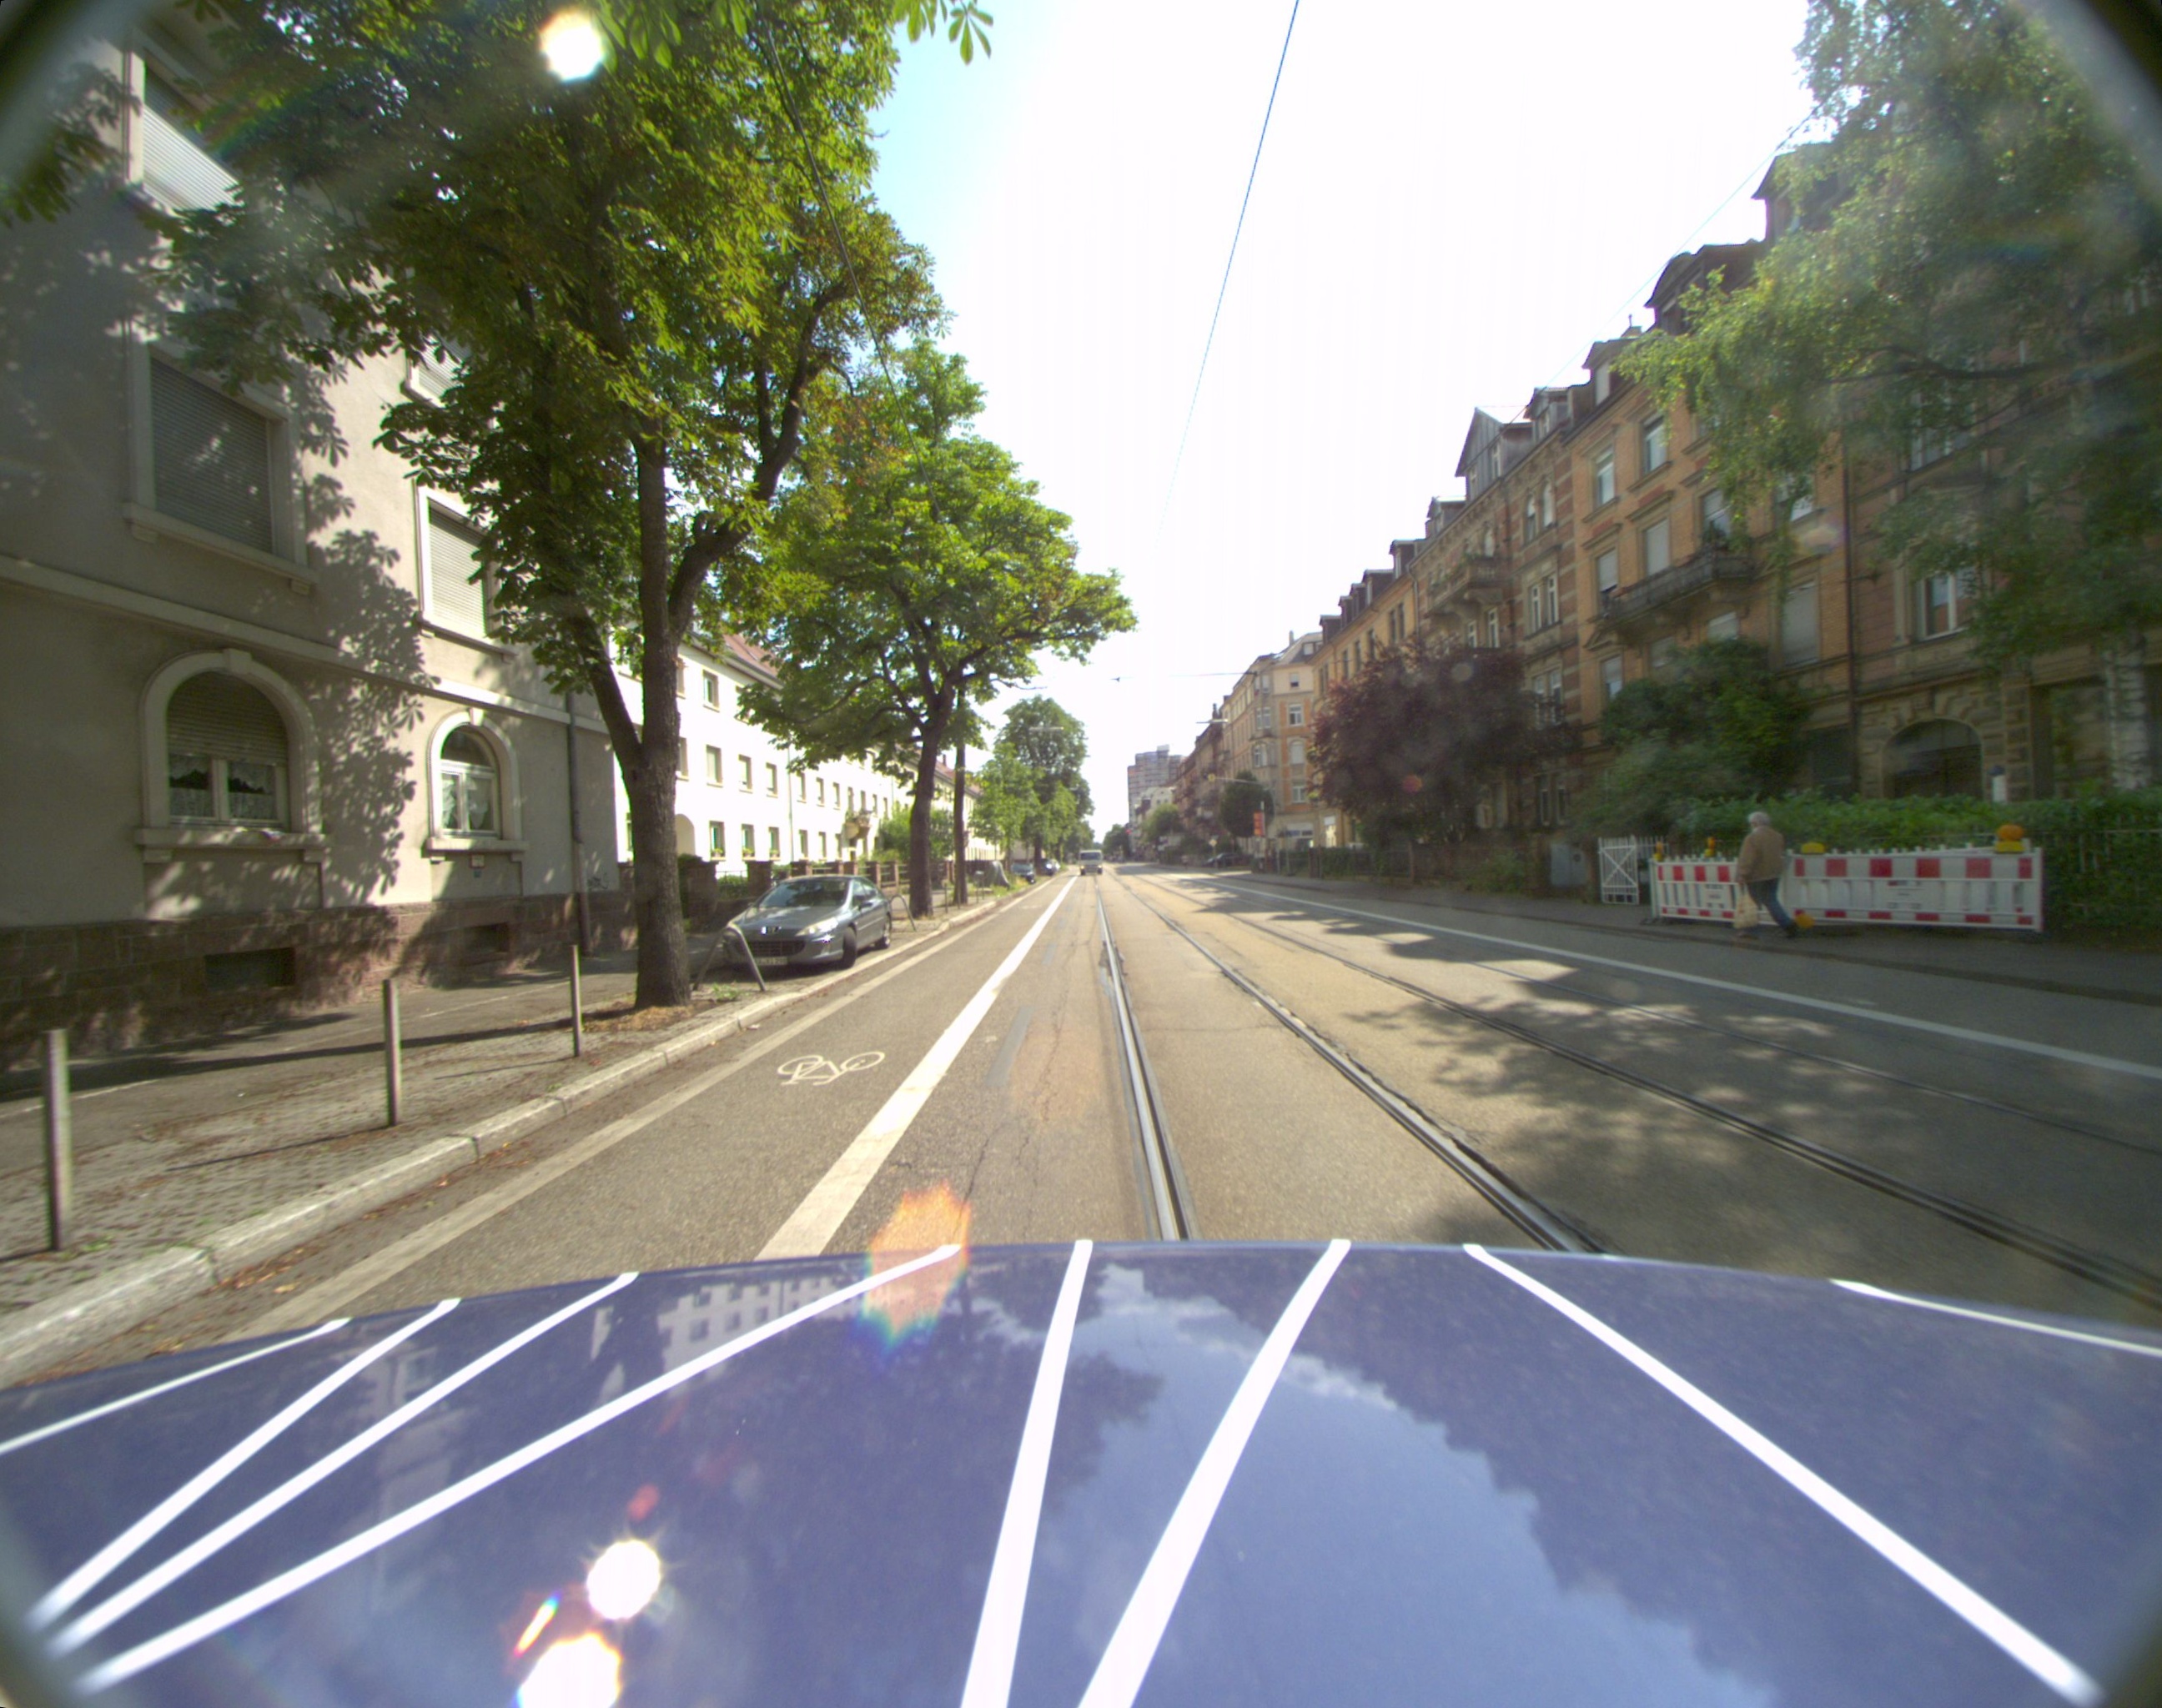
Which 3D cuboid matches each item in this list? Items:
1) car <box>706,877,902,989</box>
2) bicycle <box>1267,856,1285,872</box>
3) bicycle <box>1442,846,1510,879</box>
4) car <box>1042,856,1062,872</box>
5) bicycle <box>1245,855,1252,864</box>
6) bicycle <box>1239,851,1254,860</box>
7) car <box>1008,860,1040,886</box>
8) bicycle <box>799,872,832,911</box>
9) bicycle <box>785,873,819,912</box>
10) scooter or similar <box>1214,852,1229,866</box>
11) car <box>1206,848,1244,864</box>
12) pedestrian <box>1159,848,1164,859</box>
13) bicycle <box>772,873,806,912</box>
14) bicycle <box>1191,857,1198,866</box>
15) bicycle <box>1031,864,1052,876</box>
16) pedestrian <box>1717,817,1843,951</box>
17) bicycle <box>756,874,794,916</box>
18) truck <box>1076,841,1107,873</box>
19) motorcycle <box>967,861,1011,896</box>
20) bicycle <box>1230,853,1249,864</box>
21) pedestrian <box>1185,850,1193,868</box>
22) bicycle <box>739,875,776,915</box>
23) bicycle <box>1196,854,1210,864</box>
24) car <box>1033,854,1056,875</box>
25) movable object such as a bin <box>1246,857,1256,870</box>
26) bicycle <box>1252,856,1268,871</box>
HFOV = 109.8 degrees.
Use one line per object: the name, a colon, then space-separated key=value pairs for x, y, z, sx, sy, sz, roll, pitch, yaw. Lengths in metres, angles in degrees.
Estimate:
car: x=-4.433 y=1.179 z=12.937 sx=1.851 sy=1.401 sz=4.393 roll=-1 pitch=0 yaw=-2
bicycle: x=11.831 y=0.597 z=46.103 sx=0.531 sy=0.941 sz=1.968 roll=-2 pitch=0 yaw=1
bicycle: x=13.461 y=0.286 z=25.894 sx=2.211 sy=1.013 sz=0.467 roll=-2 pitch=0 yaw=-10
car: x=-3.102 y=1.049 z=81.030 sx=1.867 sy=1.643 sz=4.637 roll=-3 pitch=0 yaw=0
bicycle: x=15.790 y=0.479 z=71.658 sx=0.524 sy=0.833 sz=1.700 roll=-3 pitch=-1 yaw=14
bicycle: x=17.541 y=0.148 z=80.340 sx=1.456 sy=0.971 sz=0.404 roll=-2 pitch=0 yaw=1
car: x=-3.793 y=1.224 z=51.111 sx=1.710 sy=1.470 sz=4.196 roll=-5 pitch=0 yaw=1
bicycle: x=-8.914 y=1.244 z=25.563 sx=0.413 sy=1.204 sz=1.704 roll=-2 pitch=0 yaw=1
bicycle: x=-9.365 y=1.270 z=25.534 sx=0.413 sy=1.204 sz=1.704 roll=-2 pitch=0 yaw=1
scooter or similar: x=13.236 y=0.476 z=71.535 sx=1.367 sy=1.228 sz=0.403 roll=-4 pitch=1 yaw=-28
car: x=14.817 y=0.227 z=78.333 sx=3.611 sy=1.394 sz=1.787 roll=-3 pitch=0 yaw=5
pedestrian: x=12.557 y=-0.035 z=118.452 sx=0.489 sy=1.693 sz=1.151 roll=-3 pitch=0 yaw=-1
bicycle: x=-9.790 y=1.282 z=25.537 sx=0.413 sy=1.204 sz=1.704 roll=-2 pitch=0 yaw=1
bicycle: x=12.368 y=0.807 z=82.937 sx=0.422 sy=0.971 sz=1.949 roll=-3 pitch=0 yaw=0
bicycle: x=-3.426 y=1.365 z=66.243 sx=1.712 sy=1.001 sz=0.638 roll=-2 pitch=0 yaw=1
pedestrian: x=9.368 y=0.387 z=10.221 sx=0.825 sy=1.696 sz=0.891 roll=-2 pitch=1 yaw=-2
bicycle: x=-9.544 y=1.269 z=23.752 sx=0.413 sy=1.204 sz=1.704 roll=-2 pitch=0 yaw=1
truck: x=0.889 y=0.278 z=69.933 sx=2.532 sy=2.721 sz=6.514 roll=-3 pitch=0 yaw=-1
motorcycle: x=-4.395 y=1.168 z=36.115 sx=0.680 sy=1.588 sz=2.381 roll=-3 pitch=1 yaw=-45
bicycle: x=15.469 y=0.431 z=74.213 sx=1.759 sy=1.057 sz=0.524 roll=-2 pitch=0 yaw=-5
pedestrian: x=10.440 y=0.464 z=73.398 sx=0.534 sy=1.750 sz=1.106 roll=-5 pitch=0 yaw=0
bicycle: x=-10.752 y=1.341 z=25.299 sx=0.413 sy=1.204 sz=1.704 roll=-2 pitch=0 yaw=1
bicycle: x=12.849 y=0.490 z=79.958 sx=1.456 sy=0.971 sz=0.404 roll=-2 pitch=0 yaw=1
car: x=-3.388 y=0.959 z=71.069 sx=1.831 sy=1.772 sz=4.733 roll=-2 pitch=0 yaw=0
movable object such as a bin: x=12.127 y=0.696 z=54.232 sx=0.526 sy=0.900 sz=0.636 roll=-2 pitch=0 yaw=-1
bicycle: x=11.735 y=0.618 z=49.834 sx=0.531 sy=0.941 sz=1.968 roll=-2 pitch=0 yaw=1
